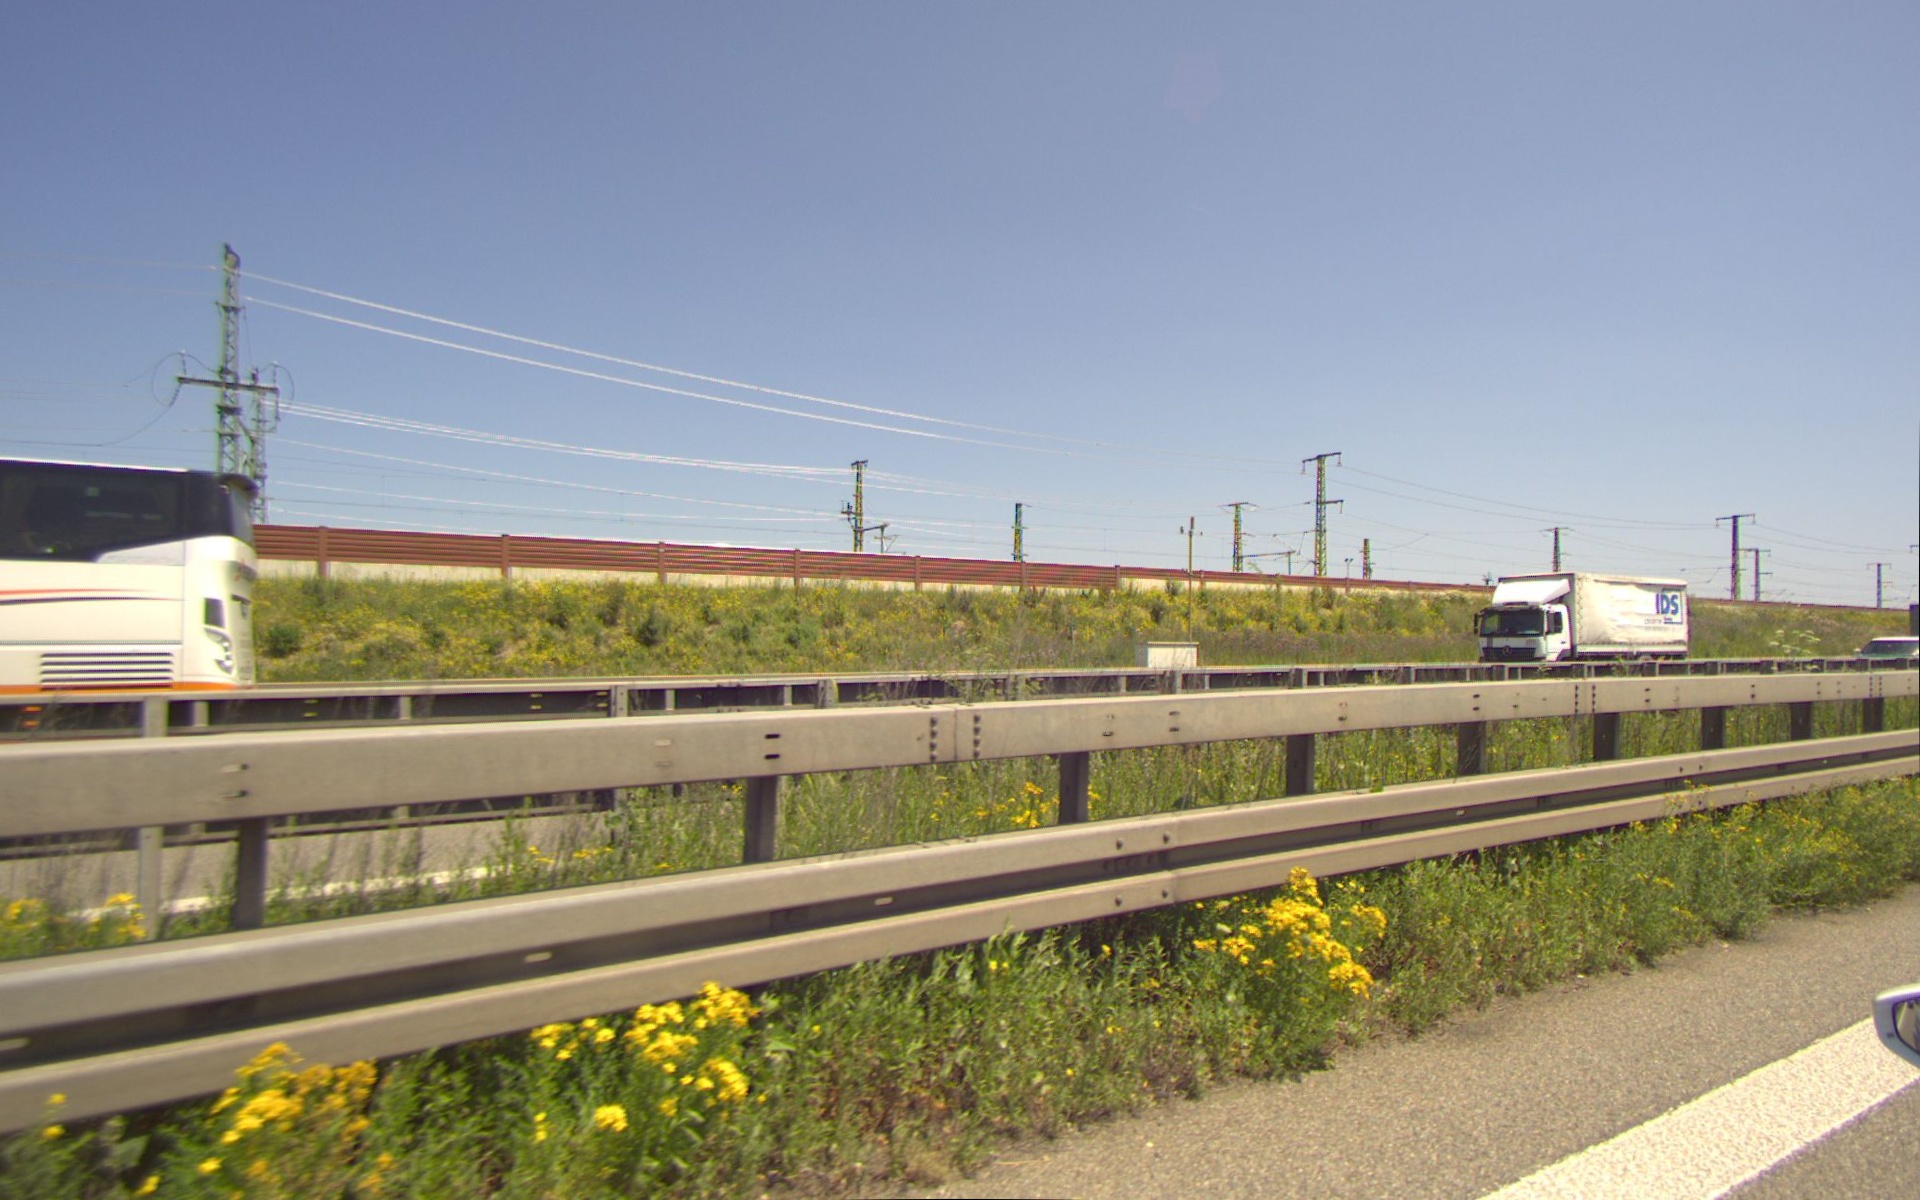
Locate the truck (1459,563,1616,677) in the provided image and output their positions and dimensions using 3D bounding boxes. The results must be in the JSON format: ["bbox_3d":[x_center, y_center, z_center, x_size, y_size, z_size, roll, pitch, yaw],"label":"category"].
[{"bbox_3d":[19.102,0.630,33.262,3.975,3.513,2.834,1,1,-30],"label":"truck"}]

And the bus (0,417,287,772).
[{"bbox_3d":[-13.406,-0.130,10.086,10.812,3.694,2.843,1,1,-31],"label":"bus"}]

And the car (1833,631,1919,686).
[{"bbox_3d":[29.627,1.814,31.717,3.953,1.632,1.911,1,-3,-30],"label":"car"}]

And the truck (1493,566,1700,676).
[{"bbox_3d":[22.318,0.706,35.106,7.688,3.513,2.844,1,1,-30],"label":"truck"}]
